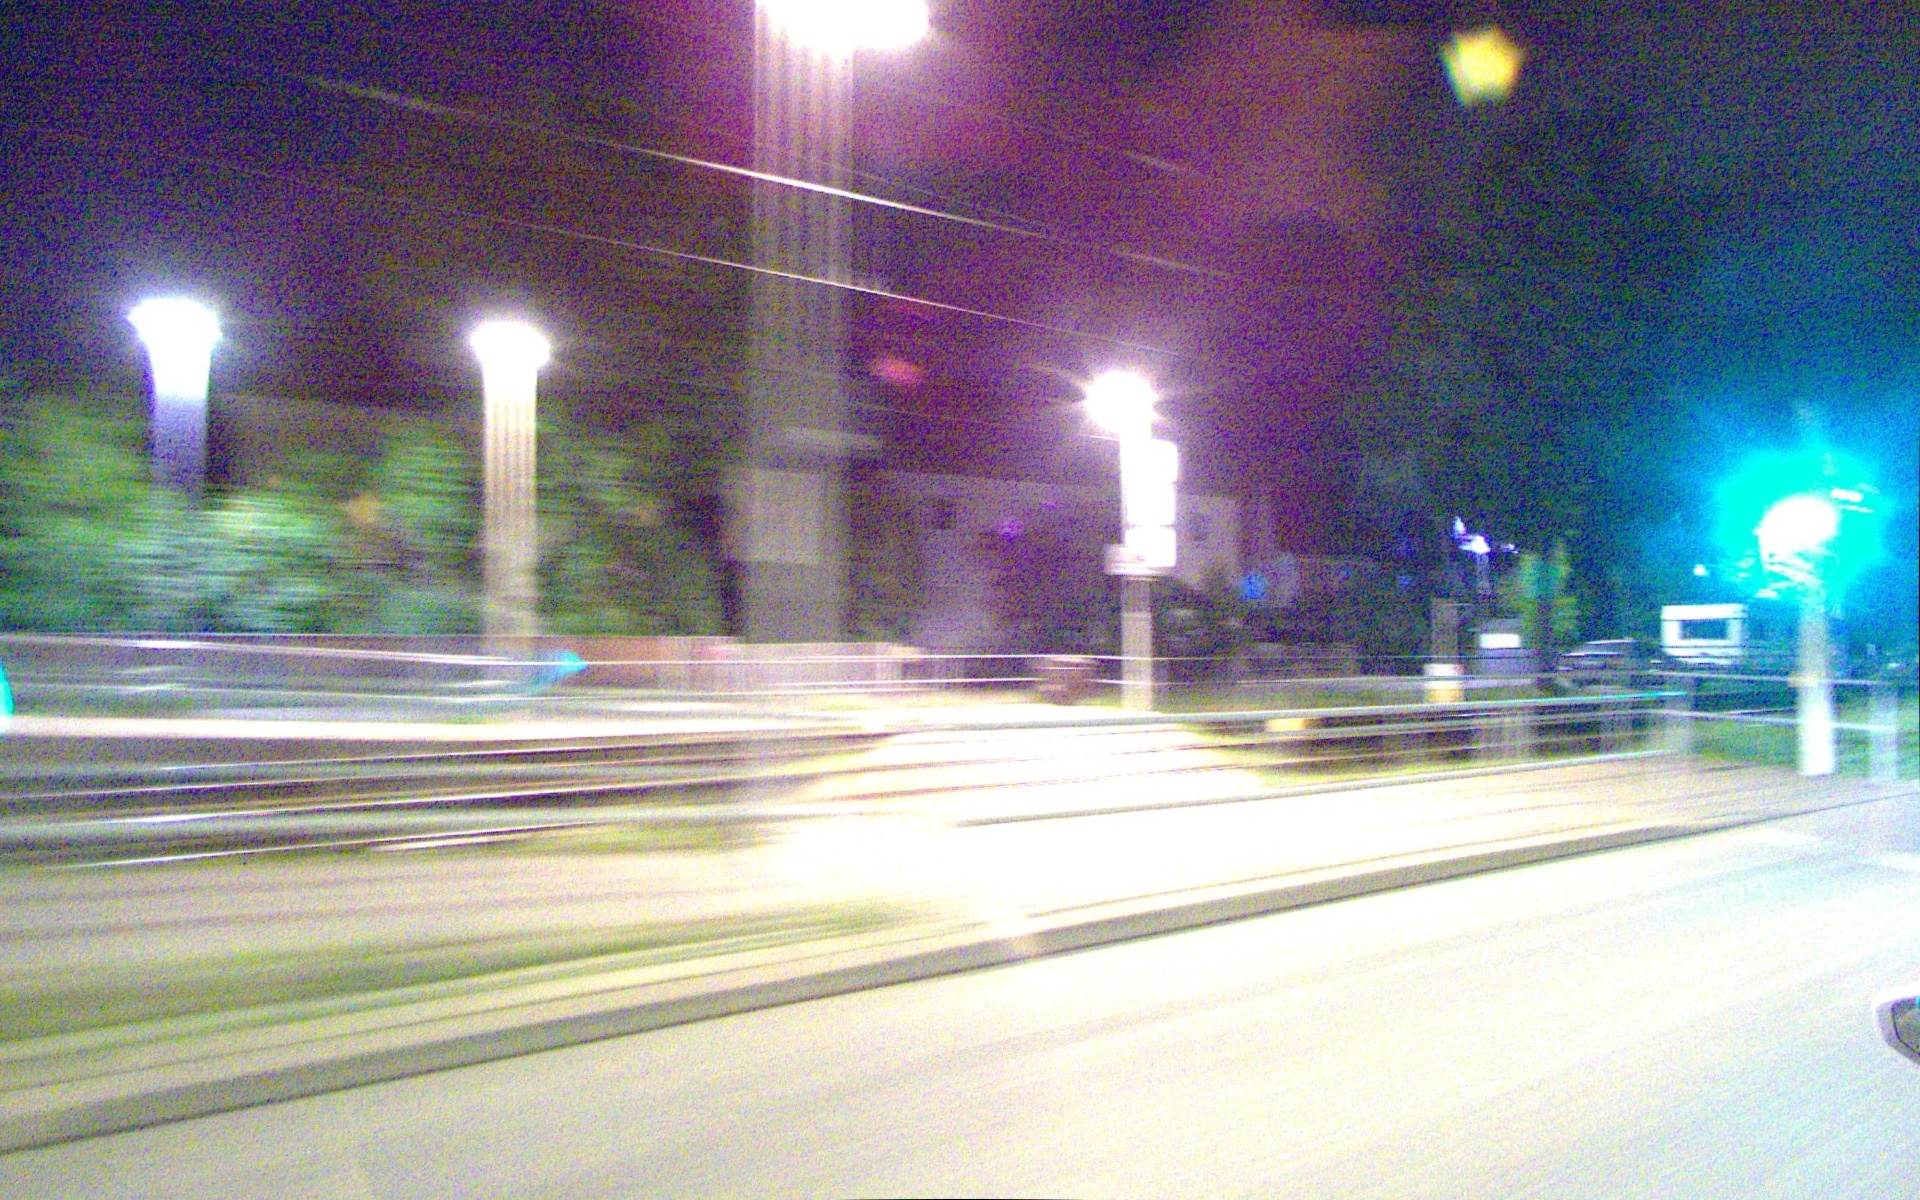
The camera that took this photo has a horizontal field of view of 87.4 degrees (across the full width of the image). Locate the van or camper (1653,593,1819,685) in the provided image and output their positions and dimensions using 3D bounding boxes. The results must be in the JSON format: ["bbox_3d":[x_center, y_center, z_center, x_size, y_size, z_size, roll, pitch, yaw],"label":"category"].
[{"bbox_3d":[24.495,1.249,31.653,5.601,2.681,2.261,1,-4,-32],"label":"van or camper"}]

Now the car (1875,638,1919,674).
[{"bbox_3d":[37.850,2.186,39.084,1.517,1.343,3.012,2,-2,-32],"label":"car"}]

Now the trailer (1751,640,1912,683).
[{"bbox_3d":[30.370,2.164,35.017,4.589,1.392,2.416,1,-5,-23],"label":"trailer"}]

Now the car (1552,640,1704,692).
[{"bbox_3d":[18.974,1.871,28.485,4.487,1.356,1.640,1,-6,-29],"label":"car"}]
